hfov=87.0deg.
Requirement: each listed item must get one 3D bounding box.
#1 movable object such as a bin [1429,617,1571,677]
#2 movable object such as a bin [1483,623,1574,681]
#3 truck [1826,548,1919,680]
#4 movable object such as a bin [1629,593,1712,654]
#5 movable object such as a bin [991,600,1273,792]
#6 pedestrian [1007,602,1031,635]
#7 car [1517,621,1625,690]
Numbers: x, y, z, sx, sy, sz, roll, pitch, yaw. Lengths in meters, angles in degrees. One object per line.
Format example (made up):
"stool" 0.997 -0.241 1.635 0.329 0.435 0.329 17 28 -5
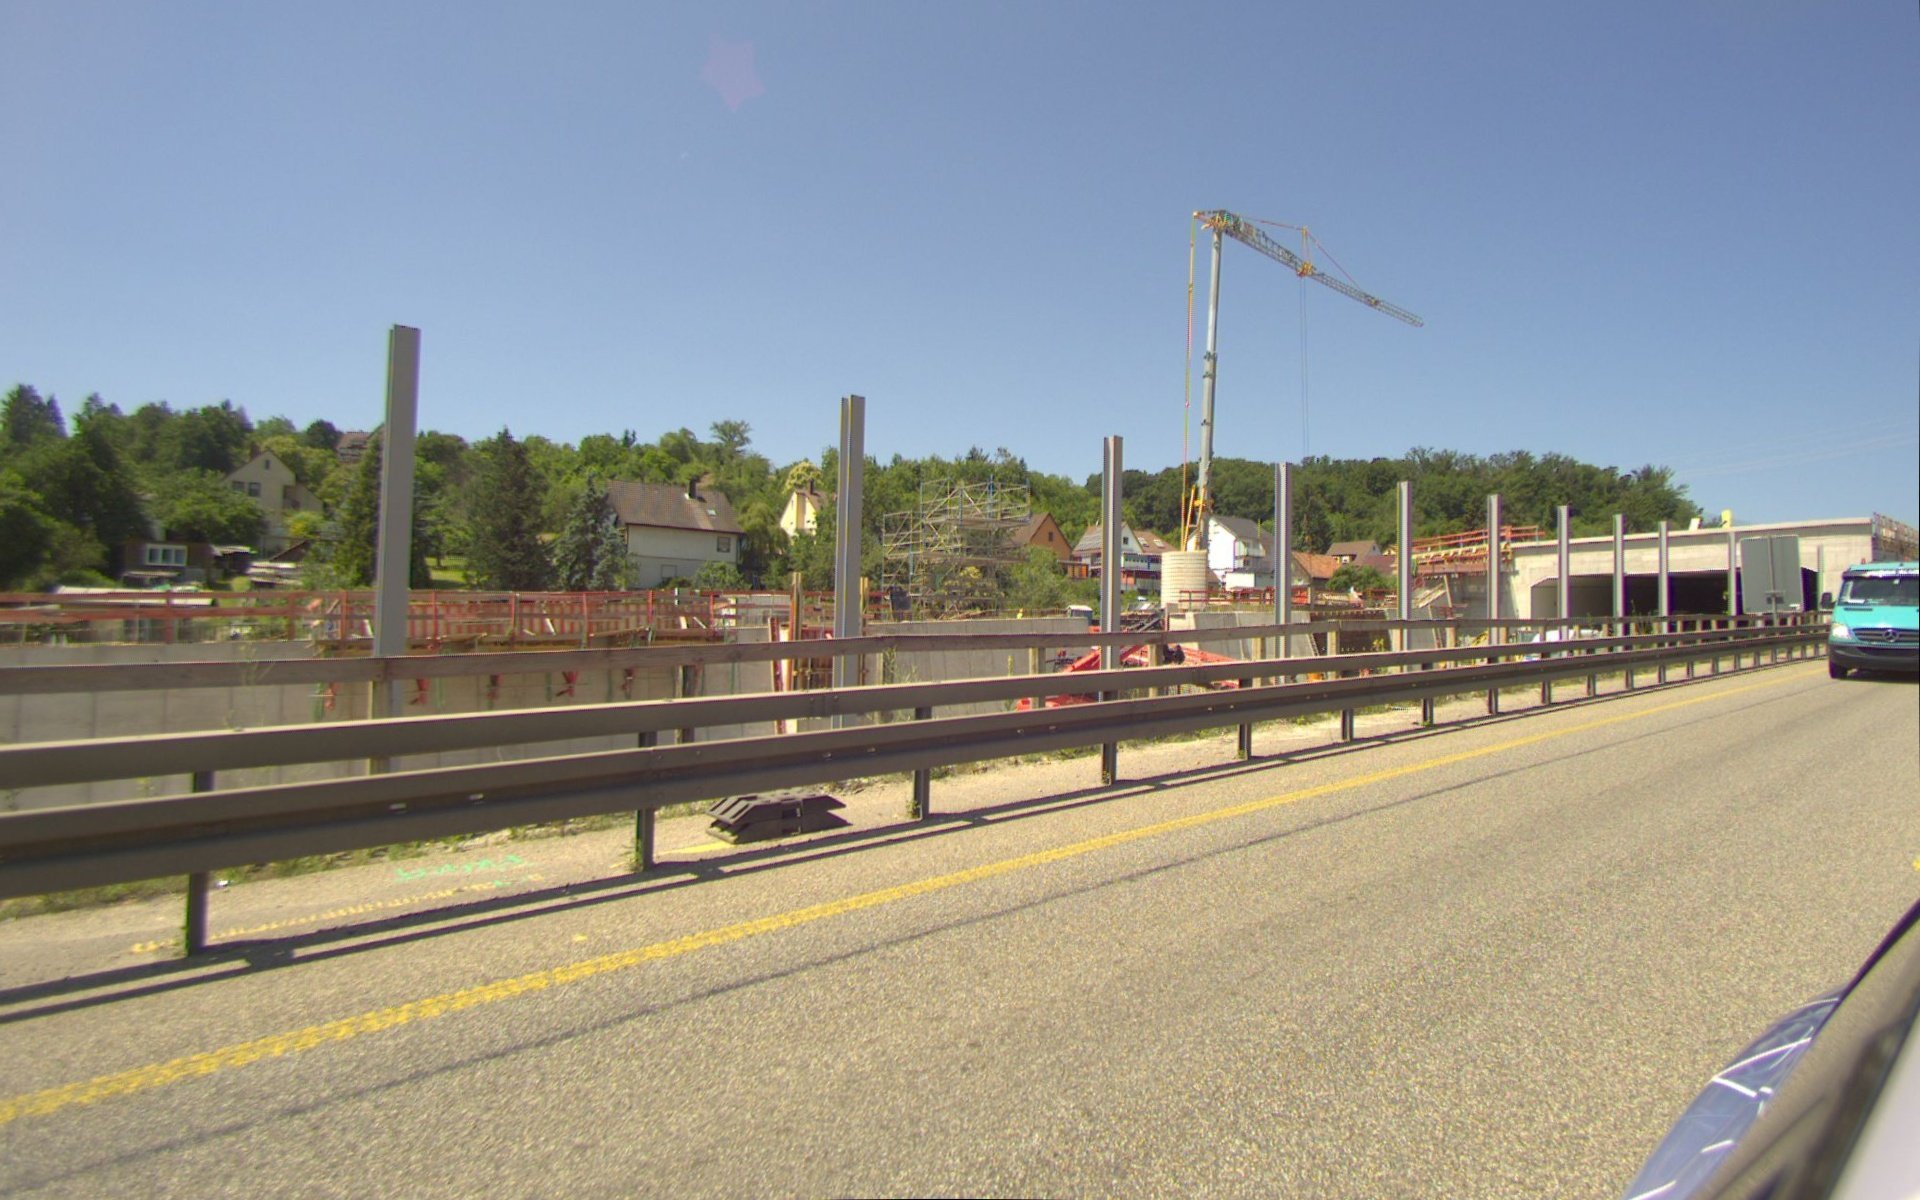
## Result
"movable object such as a bin" 33.450 3.012 63.065 3.425 2.941 7.159 -1 -8 -18
"movable object such as a bin" 29.918 2.663 53.212 5.398 2.710 2.151 -1 1 -37
"truck" 19.946 0.173 20.824 7.303 2.386 2.138 -2 1 -41
"movable object such as a bin" 52.108 1.598 74.110 8.999 4.113 2.958 -2 1 -42
"movable object such as a bin" 5.525 2.513 30.913 9.490 4.802 3.232 -2 1 -42
"pedestrian" 3.654 1.156 63.048 0.955 2.012 1.140 -1 1 -37
"car" 30.015 2.634 49.591 6.894 2.891 2.150 -1 1 -38
